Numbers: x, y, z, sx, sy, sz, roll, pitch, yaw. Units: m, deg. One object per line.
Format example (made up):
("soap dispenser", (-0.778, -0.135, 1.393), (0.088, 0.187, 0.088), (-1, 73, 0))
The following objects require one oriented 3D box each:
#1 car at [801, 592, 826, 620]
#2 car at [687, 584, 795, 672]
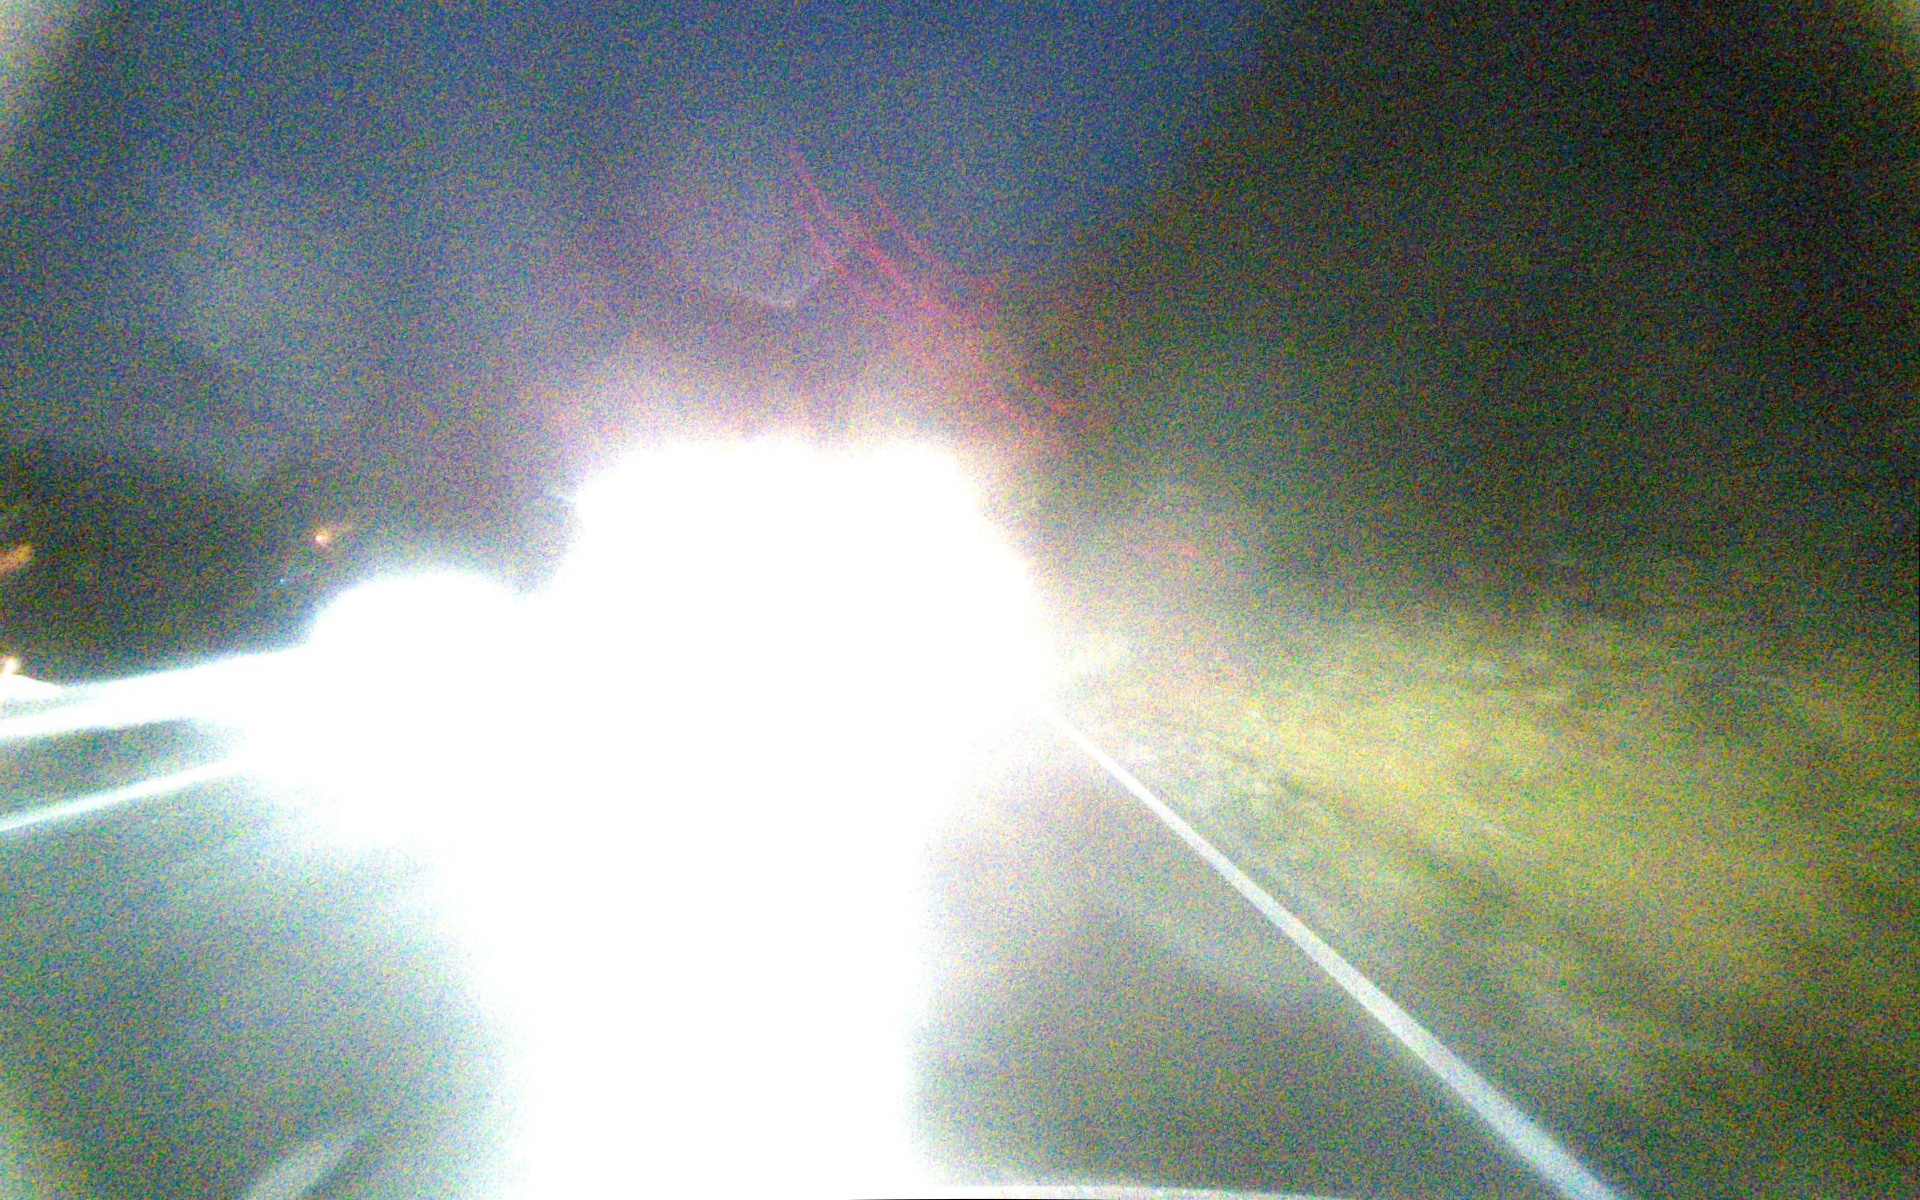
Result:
("car", (-12.373, 0.494, 139.573), (1.954, 2.312, 5.463), (1, 0, -4))
("car", (-4.633, 0.554, 35.459), (1.887, 1.733, 3.998), (1, 0, -2))
